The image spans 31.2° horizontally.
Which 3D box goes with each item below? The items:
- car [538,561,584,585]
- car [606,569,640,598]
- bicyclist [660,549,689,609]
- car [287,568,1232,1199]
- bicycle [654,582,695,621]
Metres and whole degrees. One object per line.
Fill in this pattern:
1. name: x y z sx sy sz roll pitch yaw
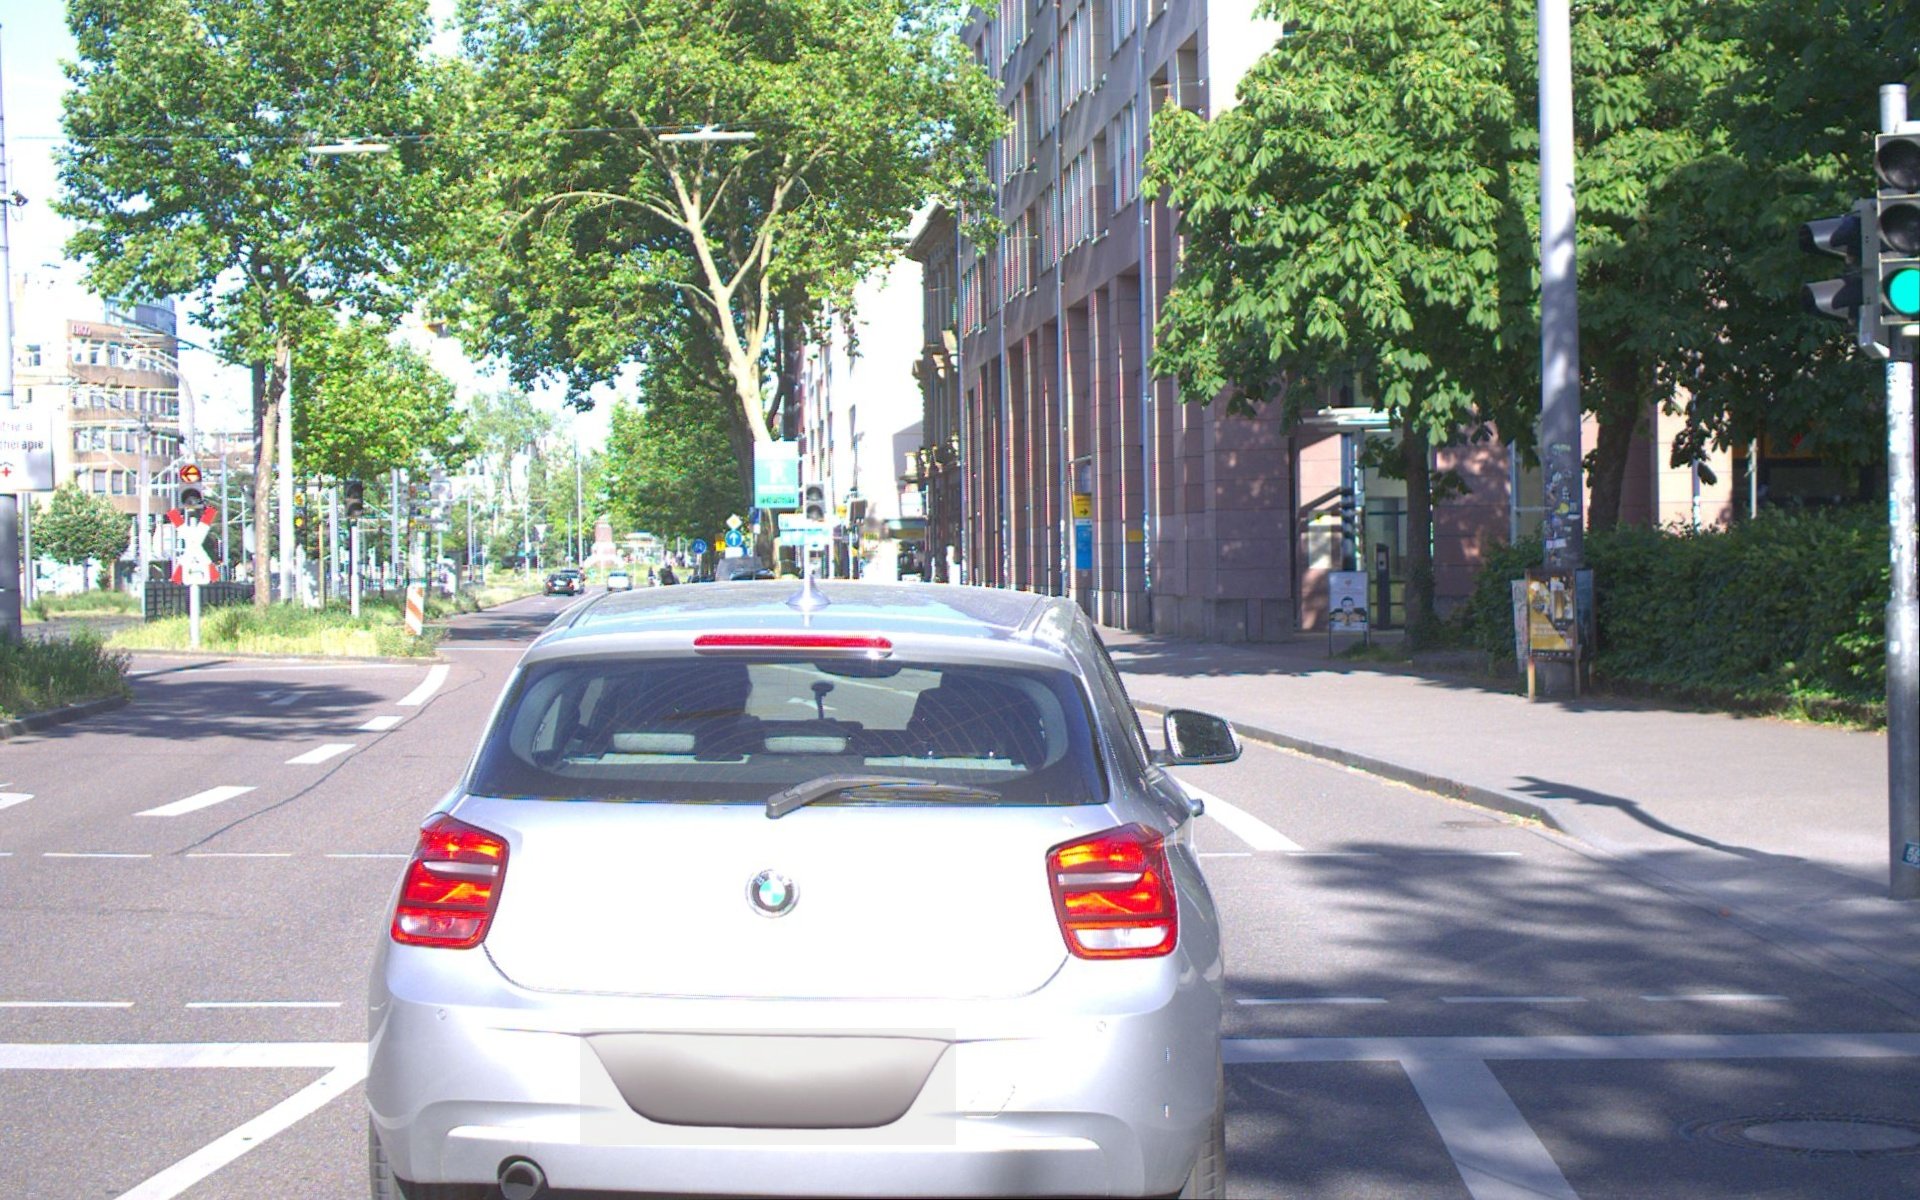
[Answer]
1. car: -25.030 -1.707 215.600 1.993 1.481 4.001 -1 1 -21
2. car: -24.321 -1.211 248.079 1.993 2.007 4.000 1 0 0
3. bicyclist: -8.020 -0.598 96.594 0.658 1.652 0.765 -1 1 5
4. car: -0.291 0.658 8.234 1.730 1.386 3.840 1 1 3
5. bicycle: -8.025 0.035 96.605 0.831 1.038 1.874 -1 1 4
